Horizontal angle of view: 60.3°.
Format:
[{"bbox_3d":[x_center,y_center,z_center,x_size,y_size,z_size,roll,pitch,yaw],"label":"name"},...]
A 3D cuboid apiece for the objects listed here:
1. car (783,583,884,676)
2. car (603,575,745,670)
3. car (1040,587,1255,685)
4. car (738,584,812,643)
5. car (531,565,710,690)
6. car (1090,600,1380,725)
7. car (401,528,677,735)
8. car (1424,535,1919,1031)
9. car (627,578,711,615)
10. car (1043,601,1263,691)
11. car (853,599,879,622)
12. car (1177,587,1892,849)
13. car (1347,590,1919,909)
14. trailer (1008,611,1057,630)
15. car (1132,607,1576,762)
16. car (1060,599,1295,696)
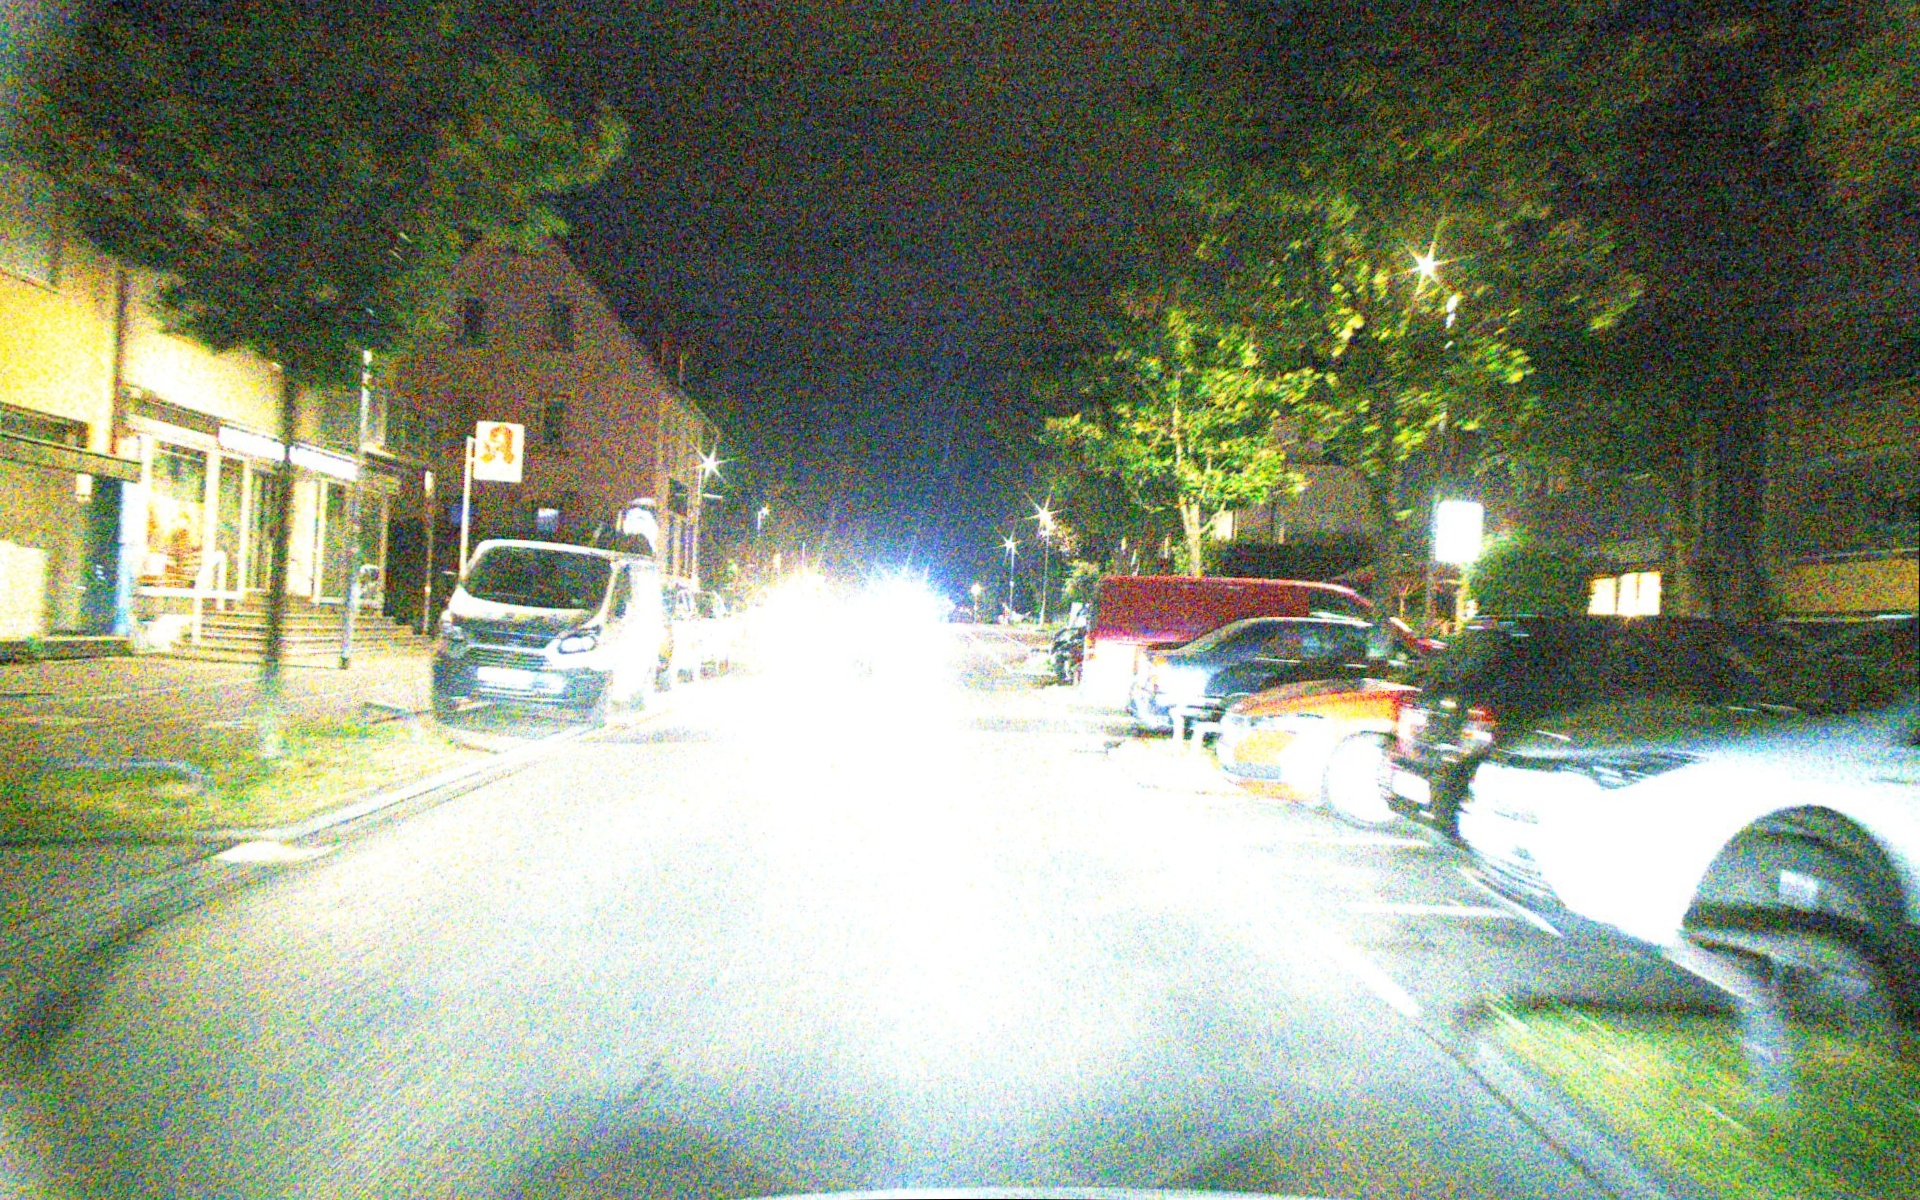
[{"bbox_3d":[-2.526,0.571,33.852,1.684,1.745,3.961,2,0,0],"label":"car"},{"bbox_3d":[-5.427,0.407,31.923,2.074,1.575,4.474,3,0,-3],"label":"car"},{"bbox_3d":[3.855,0.720,34.384,4.263,1.848,2.032,2,0,4],"label":"car"},{"bbox_3d":[-5.814,0.422,52.480,1.890,1.665,4.469,4,0,-2],"label":"car"},{"bbox_3d":[-5.286,0.401,26.321,2.074,1.699,4.167,3,0,-3],"label":"car"},{"bbox_3d":[3.800,0.849,23.459,3.834,1.578,1.988,2,0,3],"label":"car"},{"bbox_3d":[-4.775,0.326,19.591,2.074,1.980,4.885,5,0,-3],"label":"car"},{"bbox_3d":[4.306,0.724,6.902,4.187,1.727,2.001,3,0,4],"label":"car"},{"bbox_3d":[-13.968,-0.162,79.544,3.912,1.732,1.944,0,0,-8],"label":"car"},{"bbox_3d":[3.613,0.854,31.417,3.839,1.540,1.853,2,0,-4],"label":"car"},{"bbox_3d":[-7.250,0.810,128.259,1.638,1.618,3.986,3,-1,0],"label":"car"},{"bbox_3d":[4.059,0.805,12.328,4.559,1.584,2.106,3,0,0],"label":"car"},{"bbox_3d":[4.509,0.826,9.822,3.906,1.584,2.000,3,0,0],"label":"car"},{"bbox_3d":[5.298,1.509,120.708,3.364,1.019,1.953,6,-1,-1],"label":"trailer"},{"bbox_3d":[4.112,0.864,17.811,4.308,1.444,1.935,2,0,0],"label":"car"},{"bbox_3d":[3.763,0.833,29.088,3.837,1.540,1.854,2,-1,-2],"label":"car"}]
